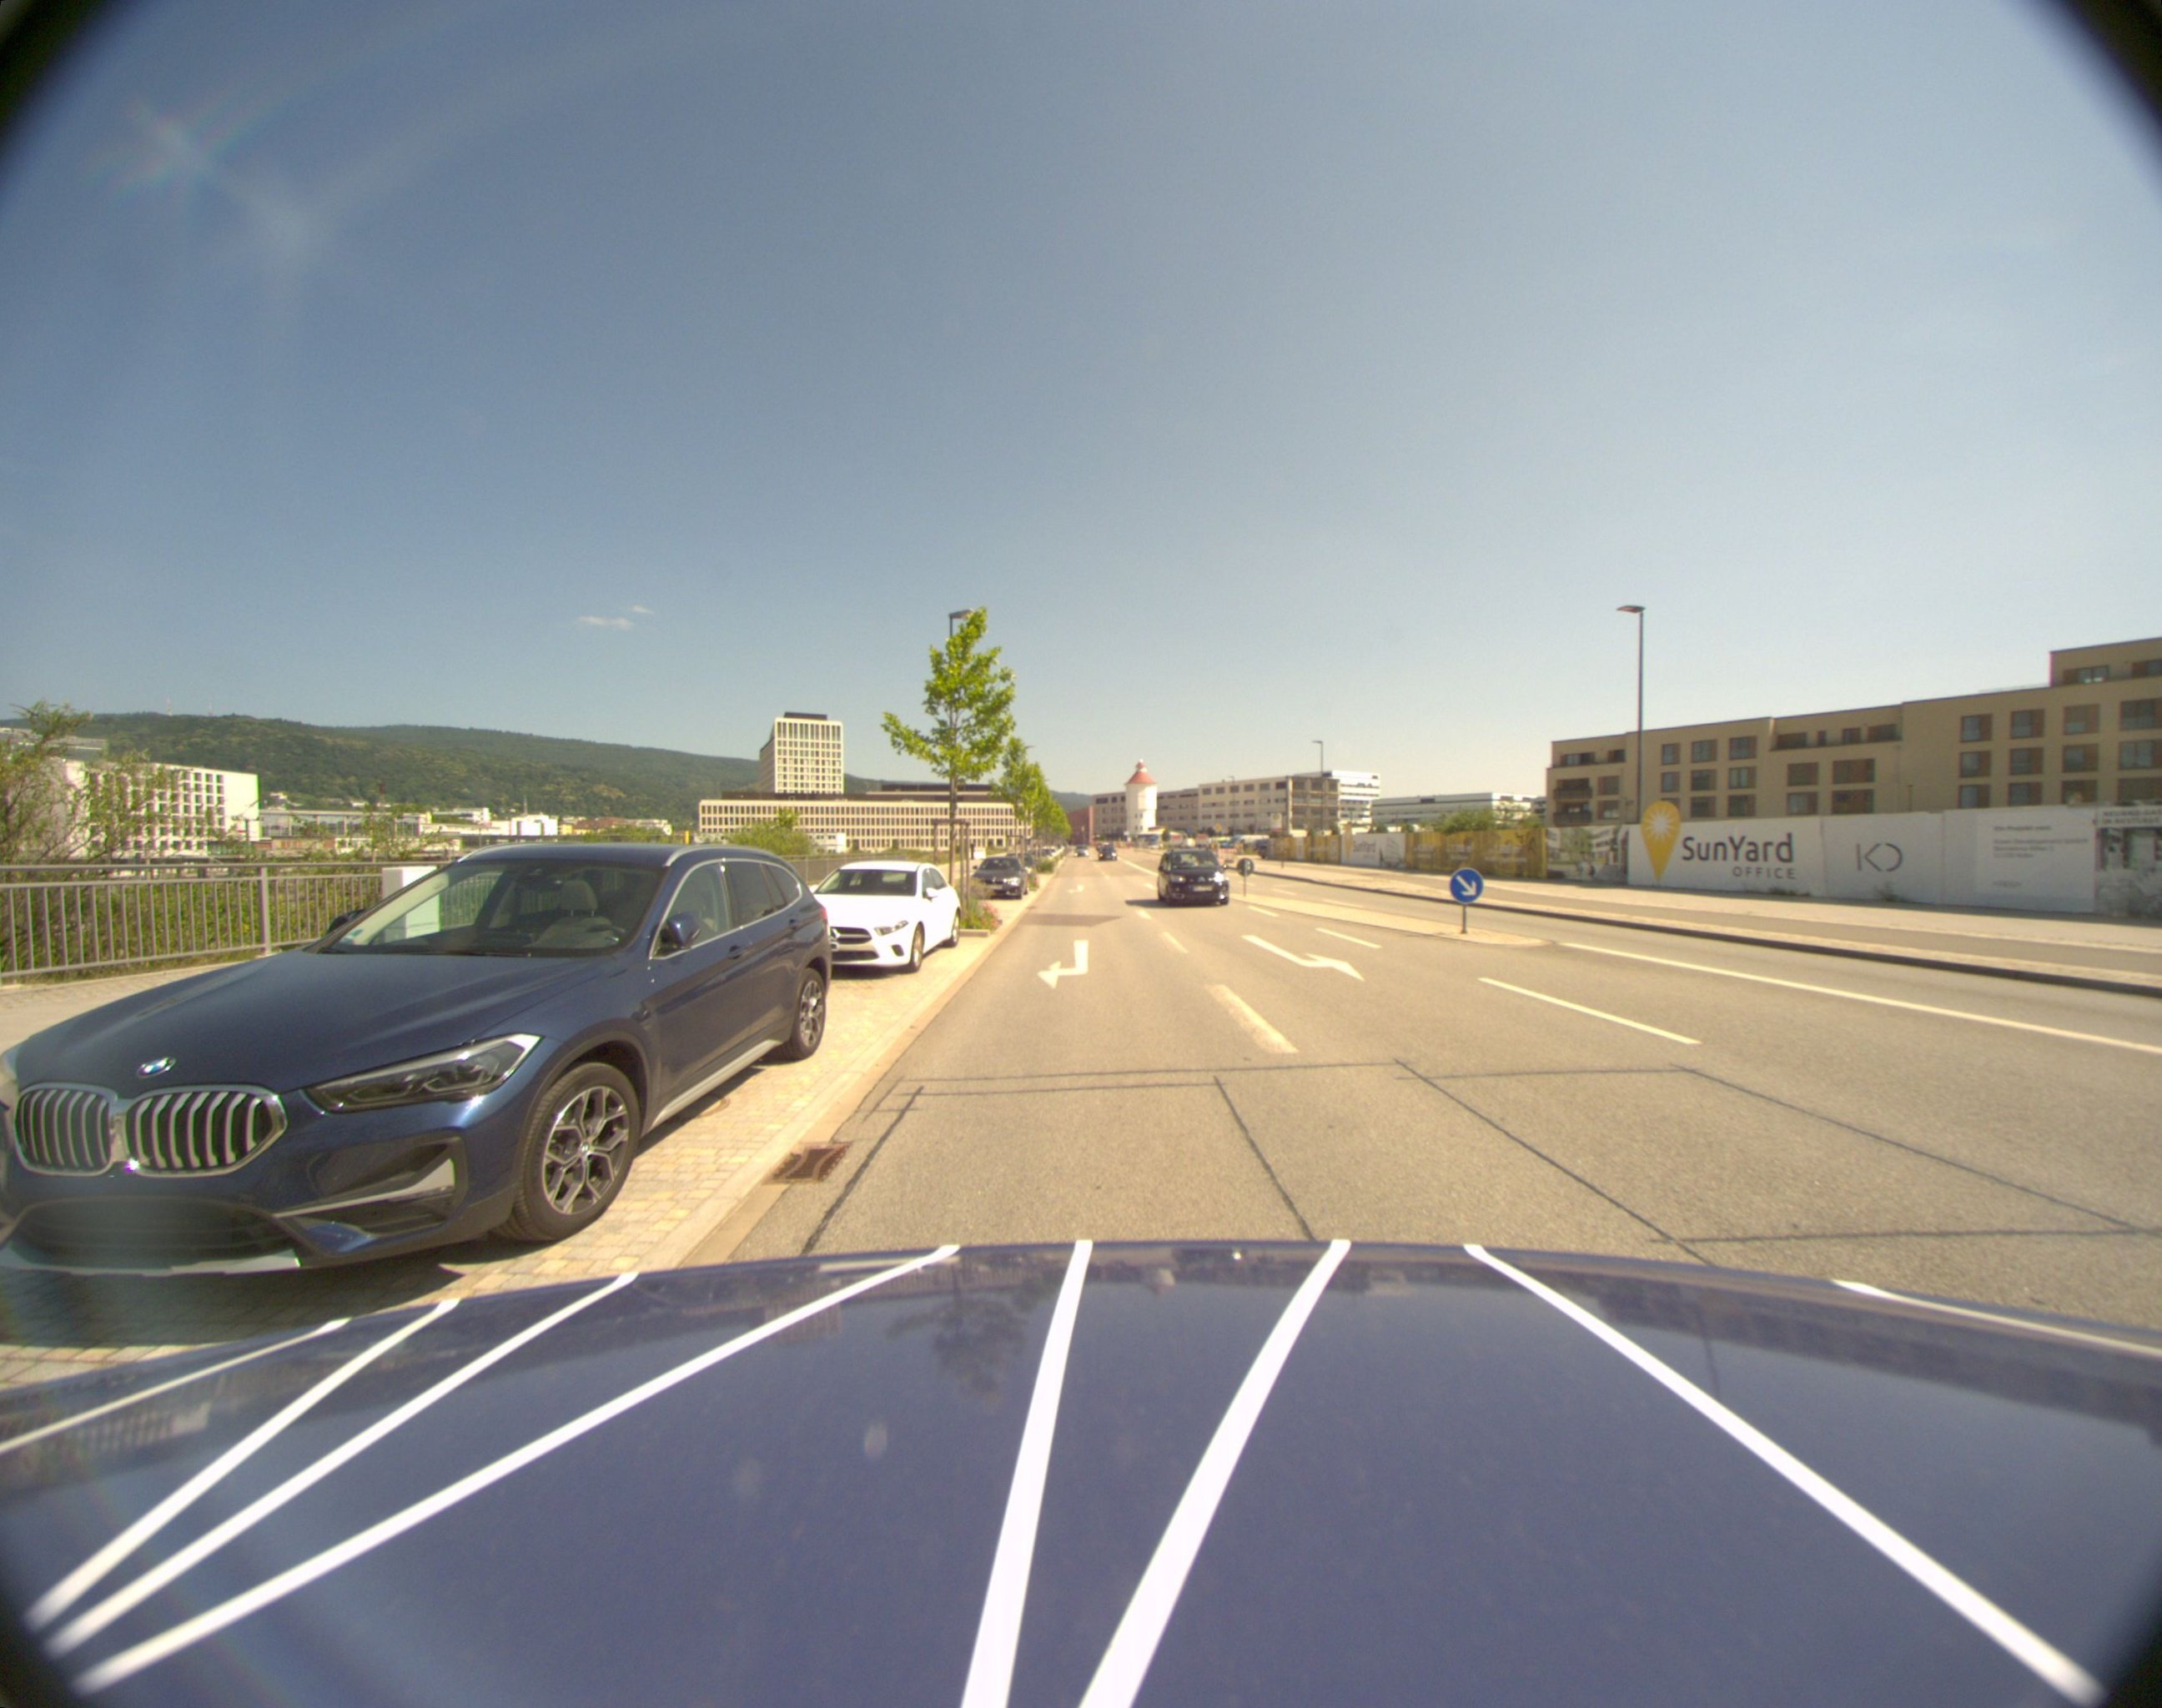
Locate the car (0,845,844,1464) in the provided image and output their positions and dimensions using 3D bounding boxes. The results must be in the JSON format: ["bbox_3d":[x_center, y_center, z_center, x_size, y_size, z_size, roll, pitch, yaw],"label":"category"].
[{"bbox_3d":[-2.902,0.812,4.225,1.808,1.673,4.270,1,1,0],"label":"car"}]

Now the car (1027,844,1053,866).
[{"bbox_3d":[-3.228,0.039,59.856,1.768,1.609,3.374,-3,1,0],"label":"car"}]

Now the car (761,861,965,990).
[{"bbox_3d":[-2.916,0.869,11.170,1.710,1.366,4.270,2,1,0],"label":"car"}]

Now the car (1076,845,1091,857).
[{"bbox_3d":[0.340,-0.417,95.515,1.820,1.458,4.346,-2,1,1],"label":"car"}]

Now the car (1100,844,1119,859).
[{"bbox_3d":[2.792,-0.308,75.109,1.709,1.404,3.999,-1,1,1],"label":"car"}]

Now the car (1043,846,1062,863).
[{"bbox_3d":[-2.585,0.013,69.019,1.525,1.482,3.504,-3,1,0],"label":"car"}]

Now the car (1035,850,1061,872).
[{"bbox_3d":[-2.120,0.440,49.298,1.490,1.302,3.154,2,1,0],"label":"car"}]

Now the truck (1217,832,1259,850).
[{"bbox_3d":[23.099,-1.916,112.080,5.633,2.461,1.999,-2,1,-4],"label":"truck"}]

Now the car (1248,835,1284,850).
[{"bbox_3d":[23.148,-1.429,95.211,3.930,1.708,1.891,-2,1,-5],"label":"car"}]

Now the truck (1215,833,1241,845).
[{"bbox_3d":[34.059,-3.409,176.038,5.333,2.461,1.999,-2,1,-4],"label":"truck"}]

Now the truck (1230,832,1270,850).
[{"bbox_3d":[23.264,-1.764,104.630,5.004,2.215,1.999,-2,1,-1],"label":"truck"}]

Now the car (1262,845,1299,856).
[{"bbox_3d":[20.065,-0.312,76.578,3.359,0.947,1.293,-2,1,3],"label":"car"}]

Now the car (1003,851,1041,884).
[{"bbox_3d":[-2.856,0.624,37.337,1.569,1.465,3.006,2,1,0],"label":"car"}]

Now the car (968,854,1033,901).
[{"bbox_3d":[-2.717,0.756,26.537,1.808,1.424,3.916,2,1,0],"label":"car"}]

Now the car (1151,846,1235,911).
[{"bbox_3d":[3.173,0.642,22.177,1.808,1.613,3.916,-3,1,0],"label":"car"}]

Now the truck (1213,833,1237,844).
[{"bbox_3d":[34.890,-3.770,184.038,5.412,2.461,1.999,-2,1,-2],"label":"truck"}]
